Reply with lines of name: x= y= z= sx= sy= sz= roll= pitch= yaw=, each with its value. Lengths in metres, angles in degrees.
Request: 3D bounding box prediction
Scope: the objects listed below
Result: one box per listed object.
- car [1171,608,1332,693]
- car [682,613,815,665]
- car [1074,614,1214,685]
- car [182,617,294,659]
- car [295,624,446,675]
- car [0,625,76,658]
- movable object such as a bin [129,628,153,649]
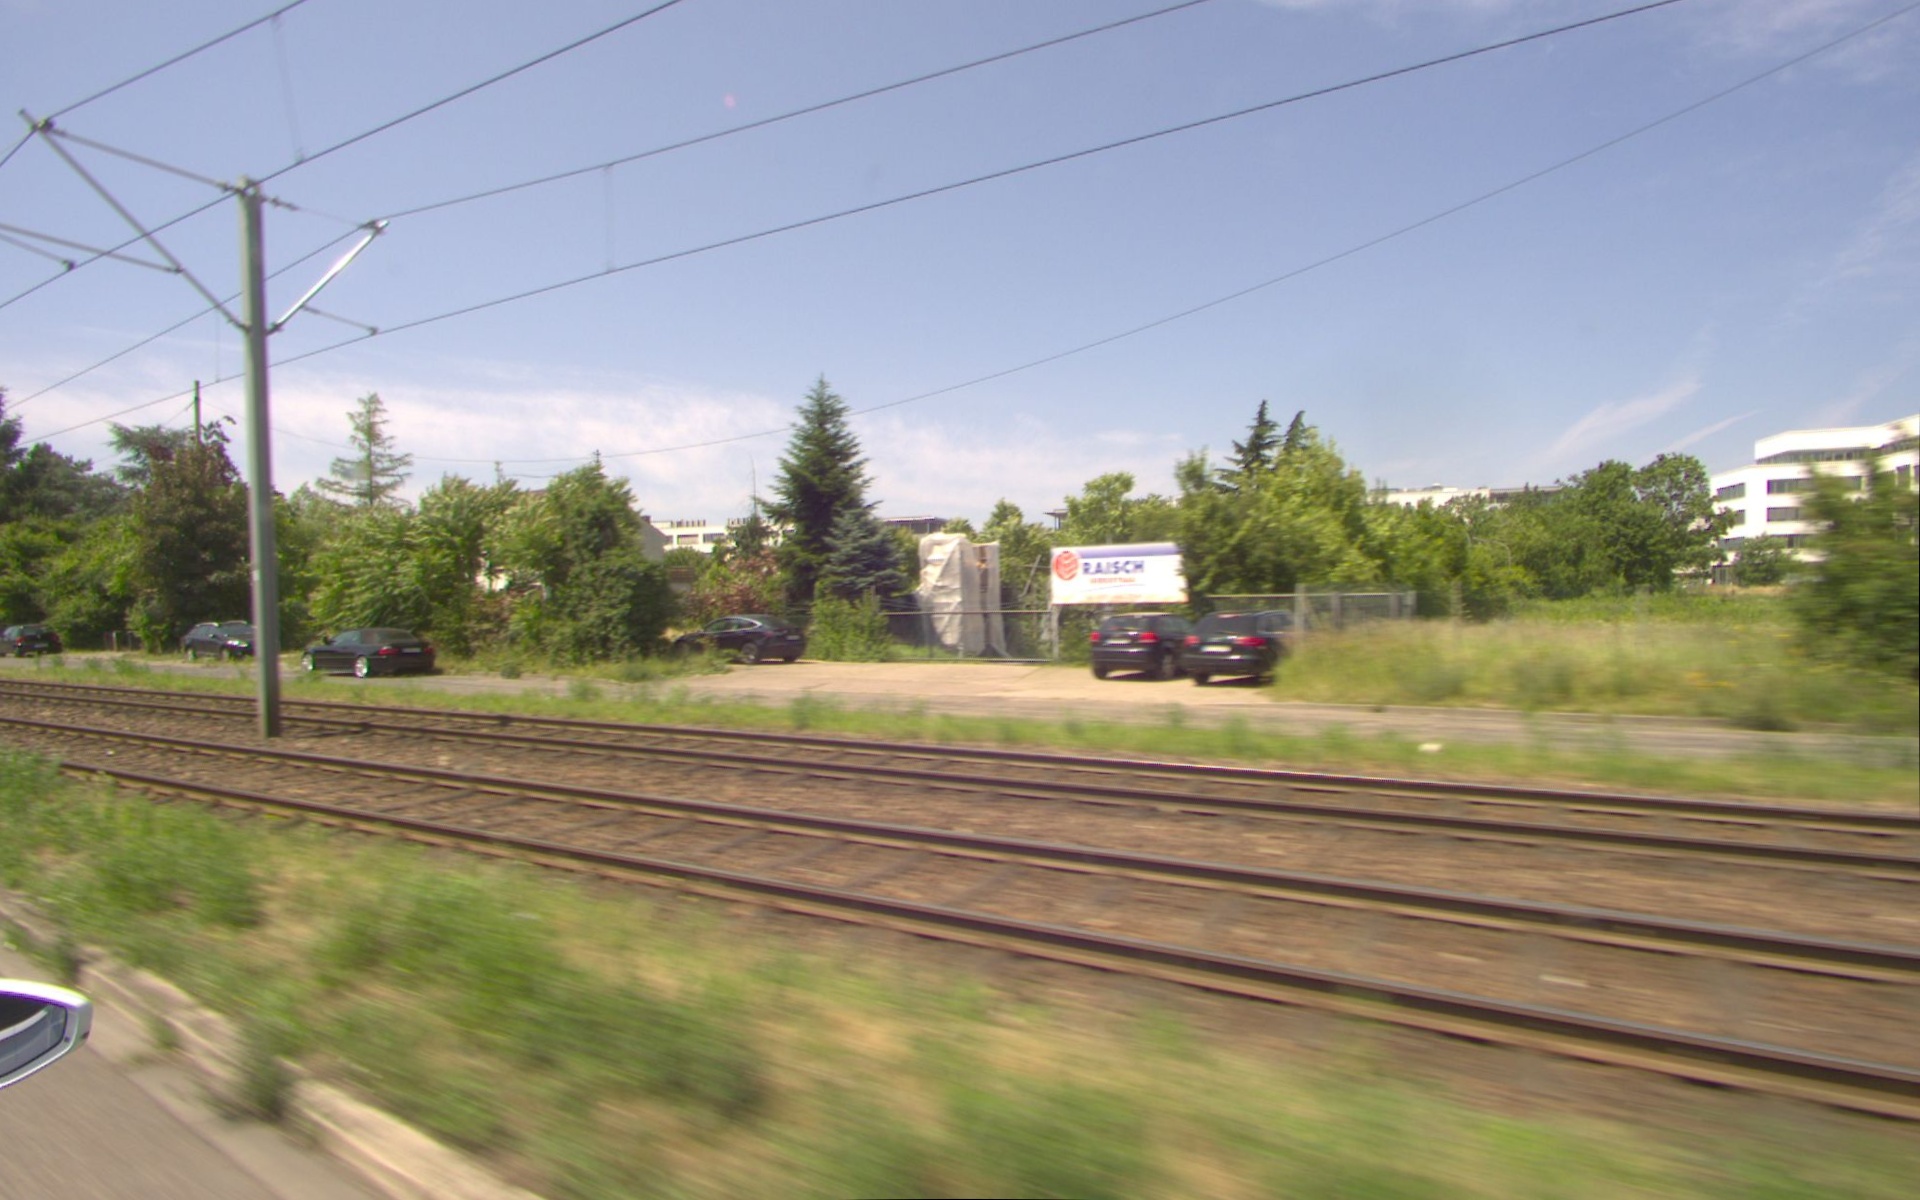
car: x=6.012 y=0.958 z=20.370 sx=1.875 sy=1.537 sz=3.973 roll=-1 pitch=-1 yaw=37
car: x=-6.265 y=1.133 z=29.600 sx=3.684 sy=1.437 sz=1.718 roll=-1 pitch=-1 yaw=31
car: x=4.202 y=1.047 z=22.464 sx=1.872 sy=1.437 sz=3.720 roll=-1 pitch=-1 yaw=32
car: x=-28.044 y=1.452 z=38.870 sx=4.489 sy=1.581 sz=1.932 roll=-1 pitch=-1 yaw=31
car: x=-16.967 y=1.391 z=28.770 sx=4.448 sy=1.347 sz=1.858 roll=-1 pitch=-1 yaw=31
car: x=-43.634 y=1.933 z=47.264 sx=3.944 sy=1.489 sz=1.910 roll=-1 pitch=-1 yaw=33
movable object such as a bin: x=-38.327 y=1.807 z=46.836 sx=0.612 sy=0.949 sz=0.722 roll=-1 pitch=-1 yaw=33
